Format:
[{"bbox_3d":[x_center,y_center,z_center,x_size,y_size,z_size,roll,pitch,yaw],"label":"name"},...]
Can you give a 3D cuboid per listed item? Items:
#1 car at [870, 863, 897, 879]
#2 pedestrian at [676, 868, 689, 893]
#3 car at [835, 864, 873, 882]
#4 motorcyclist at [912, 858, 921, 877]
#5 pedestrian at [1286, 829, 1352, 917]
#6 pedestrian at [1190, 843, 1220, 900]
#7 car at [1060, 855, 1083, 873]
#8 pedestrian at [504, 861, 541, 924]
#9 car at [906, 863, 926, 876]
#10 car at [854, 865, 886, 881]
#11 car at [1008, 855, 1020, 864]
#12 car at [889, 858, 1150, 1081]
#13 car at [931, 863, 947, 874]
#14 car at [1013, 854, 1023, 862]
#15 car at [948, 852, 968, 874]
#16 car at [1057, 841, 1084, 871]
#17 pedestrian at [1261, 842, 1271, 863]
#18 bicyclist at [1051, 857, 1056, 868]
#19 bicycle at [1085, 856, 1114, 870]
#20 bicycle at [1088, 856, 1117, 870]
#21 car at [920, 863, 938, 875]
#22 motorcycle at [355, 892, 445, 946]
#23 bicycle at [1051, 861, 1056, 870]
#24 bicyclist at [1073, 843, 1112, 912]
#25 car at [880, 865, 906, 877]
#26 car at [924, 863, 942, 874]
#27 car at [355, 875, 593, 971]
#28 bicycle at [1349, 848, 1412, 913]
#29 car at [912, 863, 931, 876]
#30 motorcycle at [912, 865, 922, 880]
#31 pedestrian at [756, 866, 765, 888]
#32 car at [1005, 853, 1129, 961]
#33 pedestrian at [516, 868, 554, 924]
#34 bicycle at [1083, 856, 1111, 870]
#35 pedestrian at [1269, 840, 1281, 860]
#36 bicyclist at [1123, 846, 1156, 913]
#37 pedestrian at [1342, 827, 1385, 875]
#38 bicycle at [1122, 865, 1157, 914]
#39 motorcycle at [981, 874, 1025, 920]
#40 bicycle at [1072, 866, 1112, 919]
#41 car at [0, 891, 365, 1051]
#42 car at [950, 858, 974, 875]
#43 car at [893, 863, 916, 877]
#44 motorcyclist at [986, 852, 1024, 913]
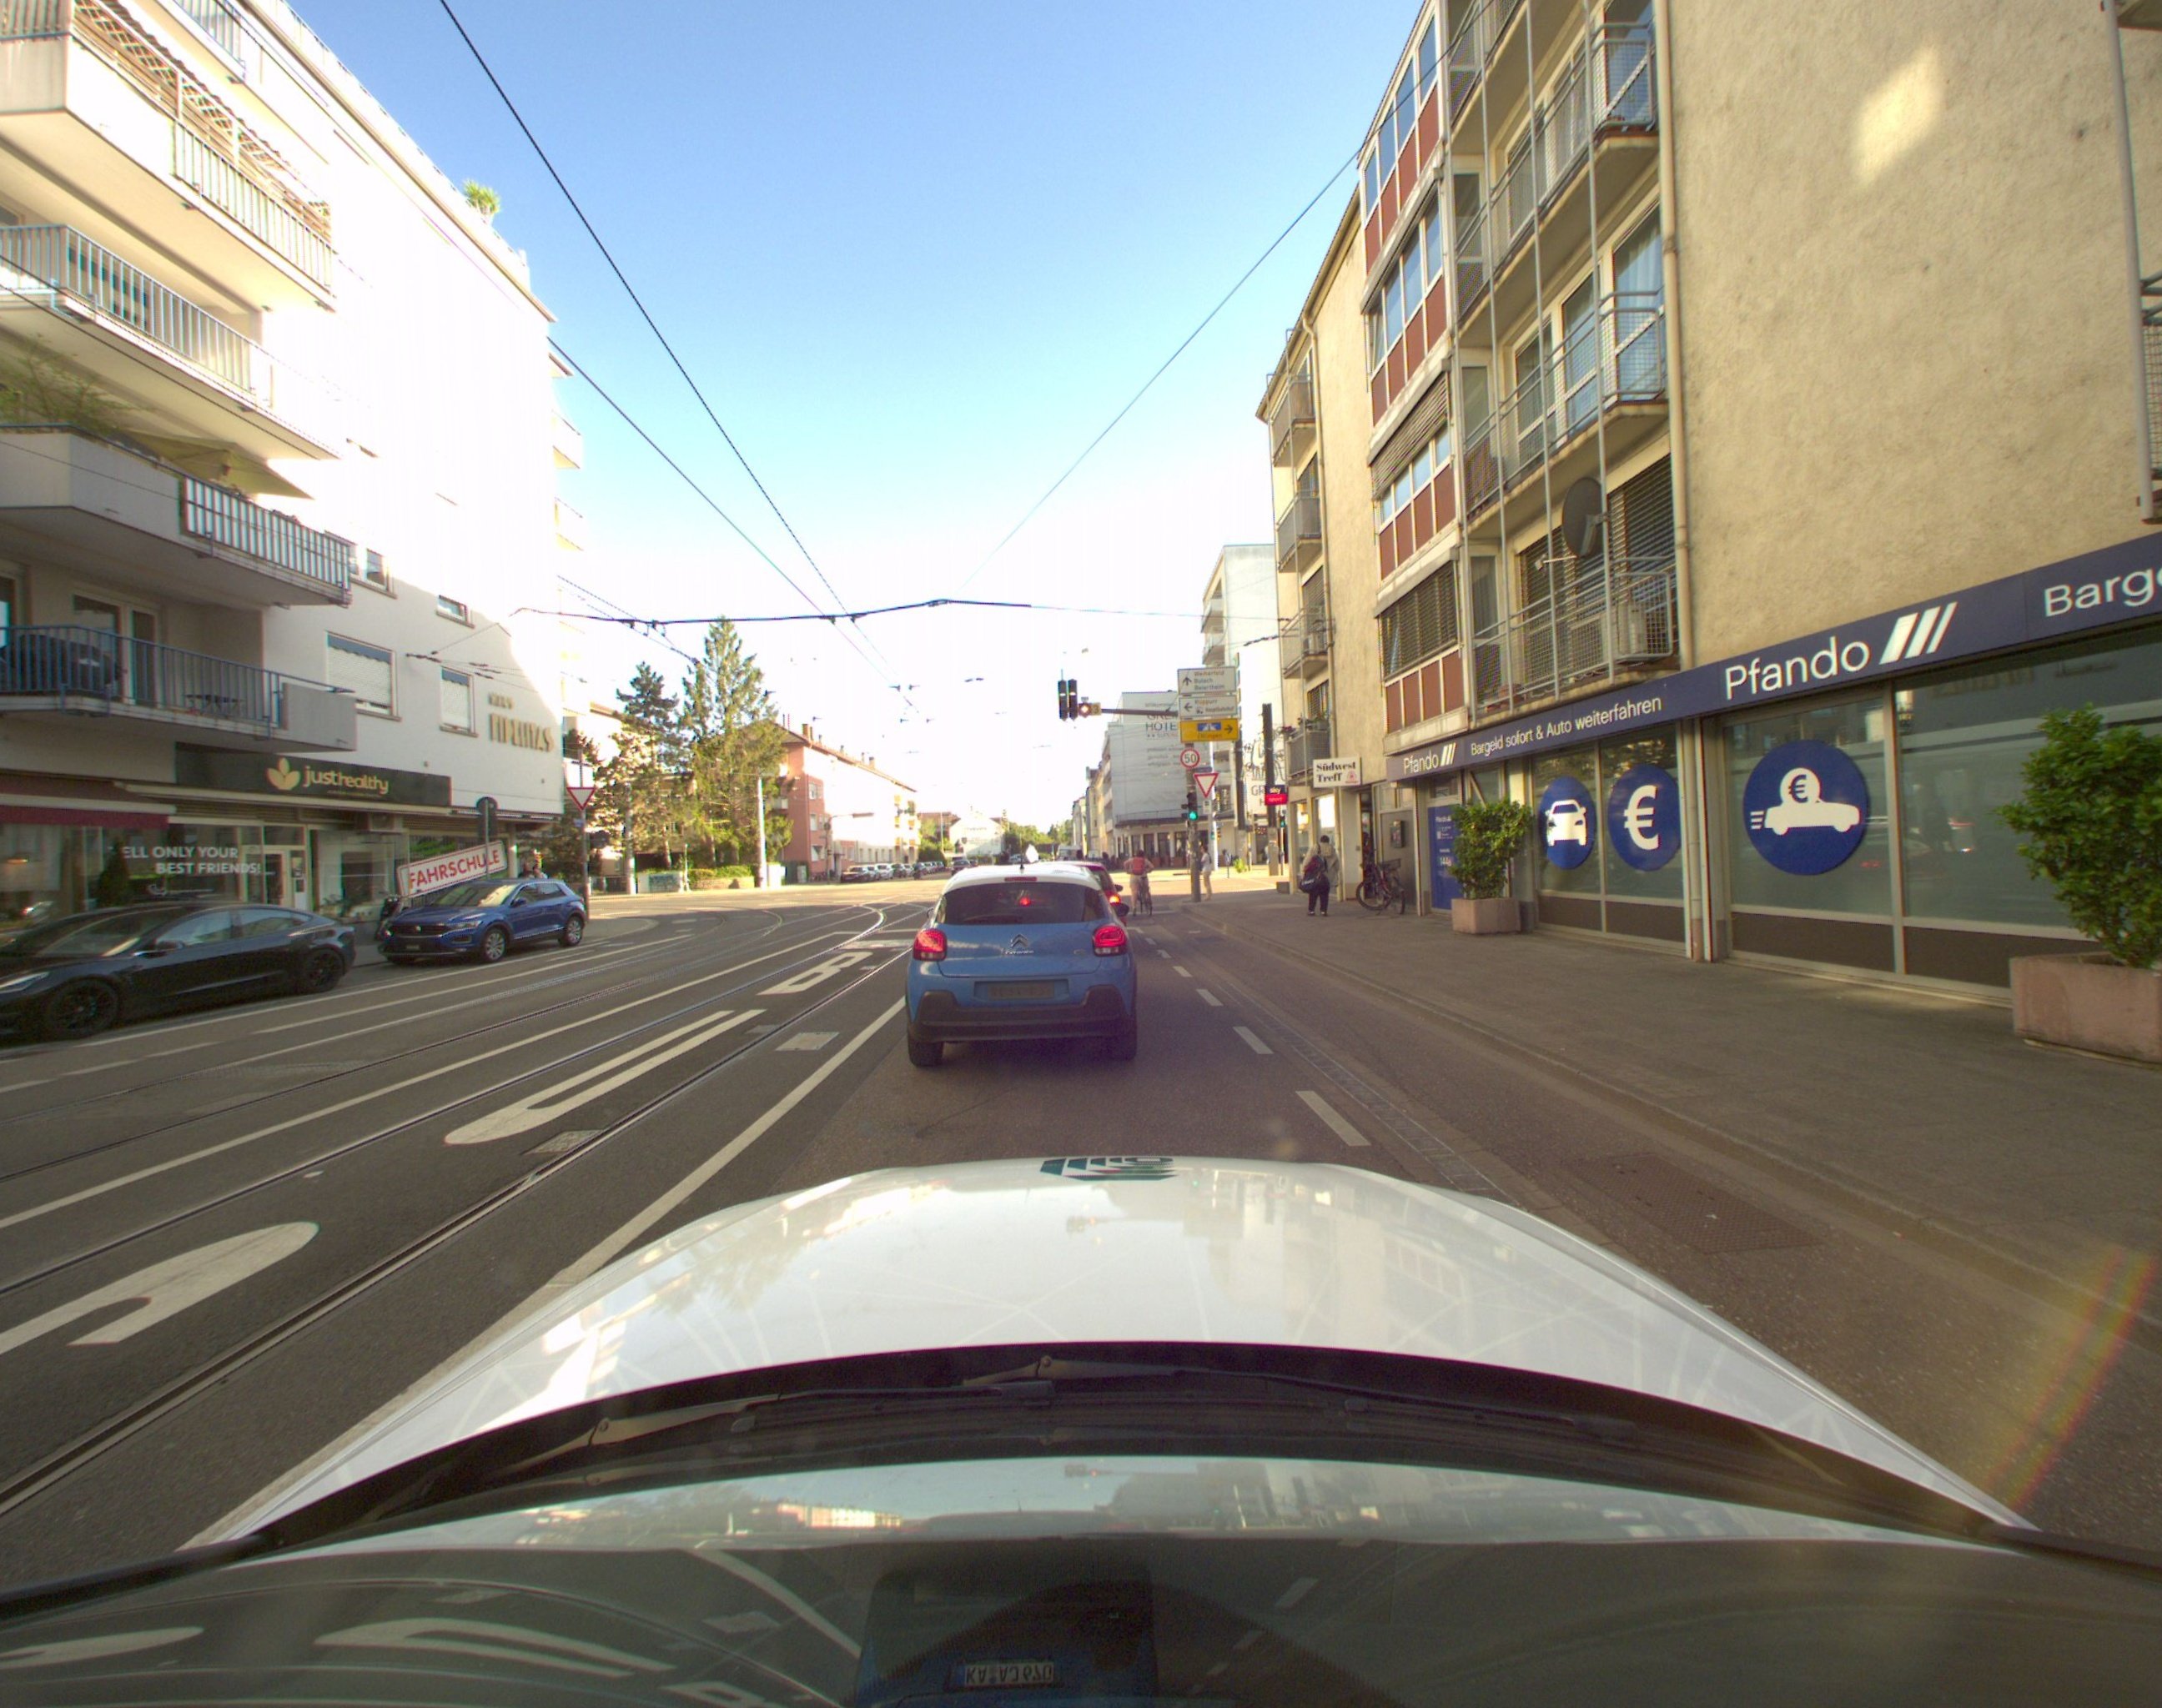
[{"bbox_3d":[-19.420,1.685,80.174,1.737,1.526,4.227,0,-1,-1],"label":"car"},{"bbox_3d":[-27.773,1.829,56.748,0.785,1.722,0.699,0,-1,-22],"label":"pedestrian"},{"bbox_3d":[-19.374,1.629,69.677,2.149,1.432,4.435,0,-2,-3],"label":"car"},{"bbox_3d":[-13.650,1.132,67.622,0.694,1.497,0.681,-2,-2,-12],"label":"motorcyclist"},{"bbox_3d":[4.627,0.359,15.871,0.883,1.592,0.809,-5,1,-7],"label":"pedestrian"},{"bbox_3d":[3.695,0.523,24.205,0.534,1.623,0.737,-7,-3,23],"label":"pedestrian"},{"bbox_3d":[-0.834,0.847,68.023,1.654,1.431,3.882,0,-1,-4],"label":"car"},{"bbox_3d":[-17.269,1.180,25.206,0.568,1.900,0.742,-2,-3,16],"label":"pedestrian"},{"bbox_3d":[-20.009,1.875,98.788,1.865,1.576,3.995,0,-1,-3],"label":"car"},{"bbox_3d":[-19.442,1.745,75.168,1.897,1.436,4.102,0,0,0],"label":"car"},{"bbox_3d":[-14.019,1.207,170.546,2.212,1.932,4.946,0,-1,-1],"label":"car"},{"bbox_3d":[-0.438,0.787,7.339,1.731,1.452,3.660,-1,0,-1],"label":"car"},{"bbox_3d":[-20.814,2.048,119.606,1.865,1.576,3.995,0,-1,-3],"label":"car"},{"bbox_3d":[-14.527,1.012,188.442,2.068,1.762,5.034,0,0,-1],"label":"car"},{"bbox_3d":[-18.061,1.266,119.776,2.411,3.142,3.487,0,-1,-1],"label":"car"},{"bbox_3d":[-0.970,0.190,73.023,2.260,2.482,5.002,-1,0,-3],"label":"car"},{"bbox_3d":[14.232,-0.093,62.643,0.604,1.608,0.673,-1,-1,29],"label":"pedestrian"},{"bbox_3d":[-5.231,1.591,154.089,0.787,2.024,0.987,0,-1,3],"label":"bicyclist"},{"bbox_3d":[1.534,0.743,67.302,2.246,1.001,0.855,-4,0,-4],"label":"bicycle"},{"bbox_3d":[1.764,0.740,65.928,2.246,1.001,0.855,-4,0,-4],"label":"bicycle"},{"bbox_3d":[-20.217,1.955,108.640,1.865,1.576,3.995,0,-1,-3],"label":"car"},{"bbox_3d":[-15.826,1.486,18.990,0.605,1.134,1.795,0,-1,-2],"label":"motorcycle"},{"bbox_3d":[-5.227,2.083,154.081,0.787,1.670,2.231,0,-1,3],"label":"bicycle"},{"bbox_3d":[0.292,0.566,20.255,0.937,1.673,1.079,0,-1,0],"label":"bicyclist"},{"bbox_3d":[-19.969,1.770,86.784,1.942,1.239,4.279,0,0,-2],"label":"car"},{"bbox_3d":[-20.583,1.996,113.385,1.865,1.576,3.995,0,-1,-3],"label":"car"},{"bbox_3d":[-11.846,1.252,16.313,1.765,1.503,4.233,0,1,-4],"label":"car"},{"bbox_3d":[5.744,0.496,15.733,0.495,1.161,1.776,-2,-1,-1],"label":"bicycle"},{"bbox_3d":[-20.188,1.913,103.347,1.865,1.576,3.995,0,-1,-3],"label":"car"},{"bbox_3d":[-13.596,1.549,67.461,0.712,1.220,1.957,-2,-2,-12],"label":"motorcycle"},{"bbox_3d":[-23.102,1.675,58.679,0.519,1.568,0.568,0,-1,-26],"label":"pedestrian"},{"bbox_3d":[-0.289,0.754,13.615,1.780,1.521,3.758,0,0,-3],"label":"car"},{"bbox_3d":[-18.121,1.377,27.019,0.732,1.792,0.663,-2,0,5],"label":"pedestrian"},{"bbox_3d":[1.364,0.761,68.416,2.246,1.001,0.855,-4,0,-4],"label":"bicycle"},{"bbox_3d":[15.478,-0.290,65.016,0.673,1.608,0.604,0,-1,-44],"label":"pedestrian"},{"bbox_3d":[1.515,0.641,21.001,0.807,1.692,0.937,0,-1,6],"label":"bicyclist"},{"bbox_3d":[6.688,-0.069,19.302,0.627,1.087,0.672,-3,1,-36],"label":"pedestrian"},{"bbox_3d":[1.516,0.892,20.919,0.807,1.181,2.068,0,-1,6],"label":"bicycle"},{"bbox_3d":[-1.905,1.042,20.202,0.852,1.047,1.943,0,-1,2],"label":"motorcycle"},{"bbox_3d":[0.280,0.927,20.133,0.937,1.223,2.094,0,-1,1],"label":"bicycle"},{"bbox_3d":[-12.000,1.304,10.423,1.764,1.475,4.443,0,0,-1],"label":"car"},{"bbox_3d":[-11.213,1.181,76.838,1.775,1.486,3.824,-3,0,-3],"label":"car"},{"bbox_3d":[-20.064,1.827,92.725,1.865,1.576,3.995,0,-1,-3],"label":"car"},{"bbox_3d":[-1.905,0.694,20.377,0.852,1.488,0.729,0,-1,1],"label":"motorcyclist"}]
